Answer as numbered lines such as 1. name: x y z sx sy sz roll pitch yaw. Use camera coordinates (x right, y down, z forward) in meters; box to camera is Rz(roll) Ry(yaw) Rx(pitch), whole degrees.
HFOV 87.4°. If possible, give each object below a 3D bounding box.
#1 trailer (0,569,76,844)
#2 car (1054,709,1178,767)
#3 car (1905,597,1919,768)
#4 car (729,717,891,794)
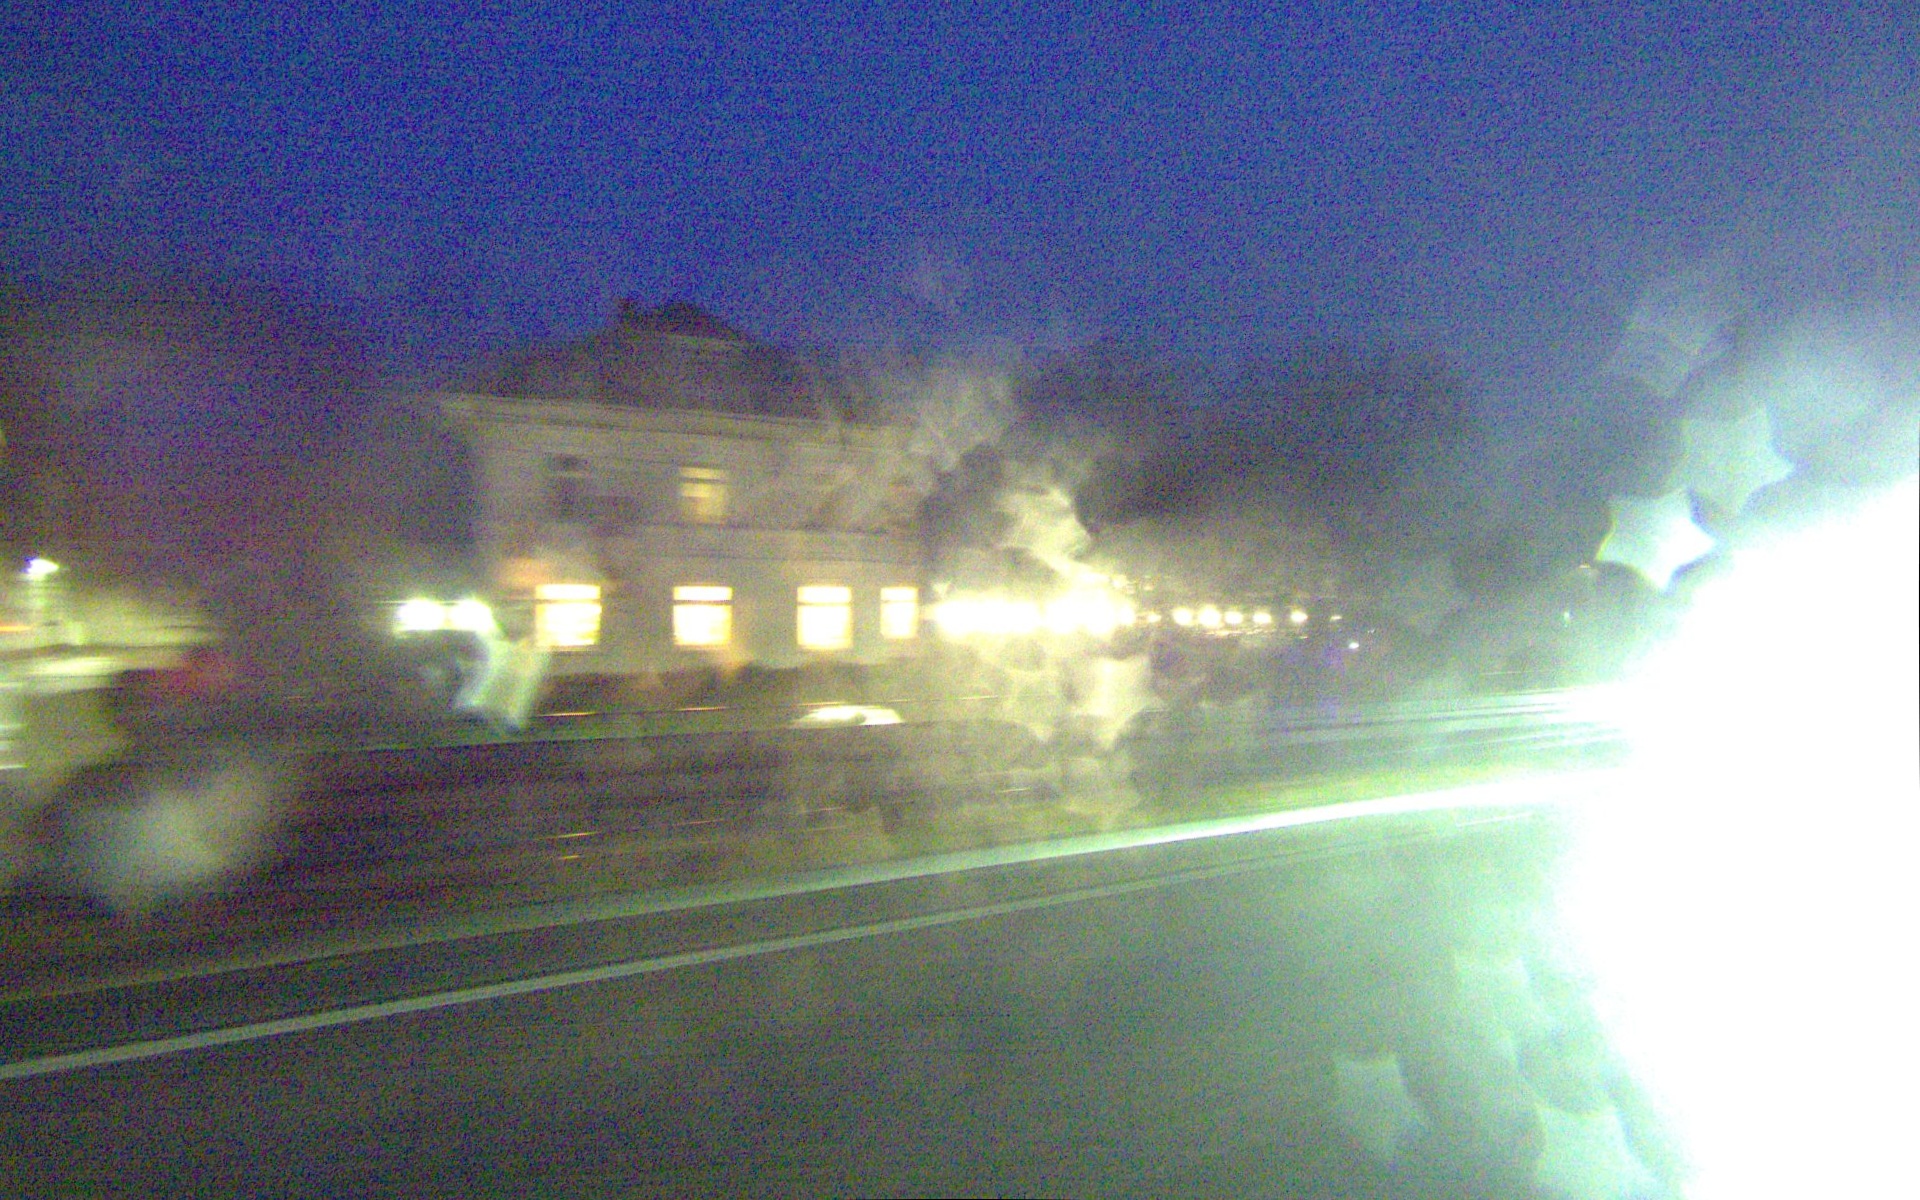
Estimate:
1. trailer: -22.602 1.747 17.381 11.330 4.860 3.337 1 0 -2
2. car: 5.491 4.772 35.076 4.251 1.591 1.796 2 -1 -36
3. car: 12.693 0.947 11.230 4.544 1.830 1.983 2 -1 -32
4. car: -4.257 4.391 28.801 4.250 1.698 1.796 2 -1 -36
